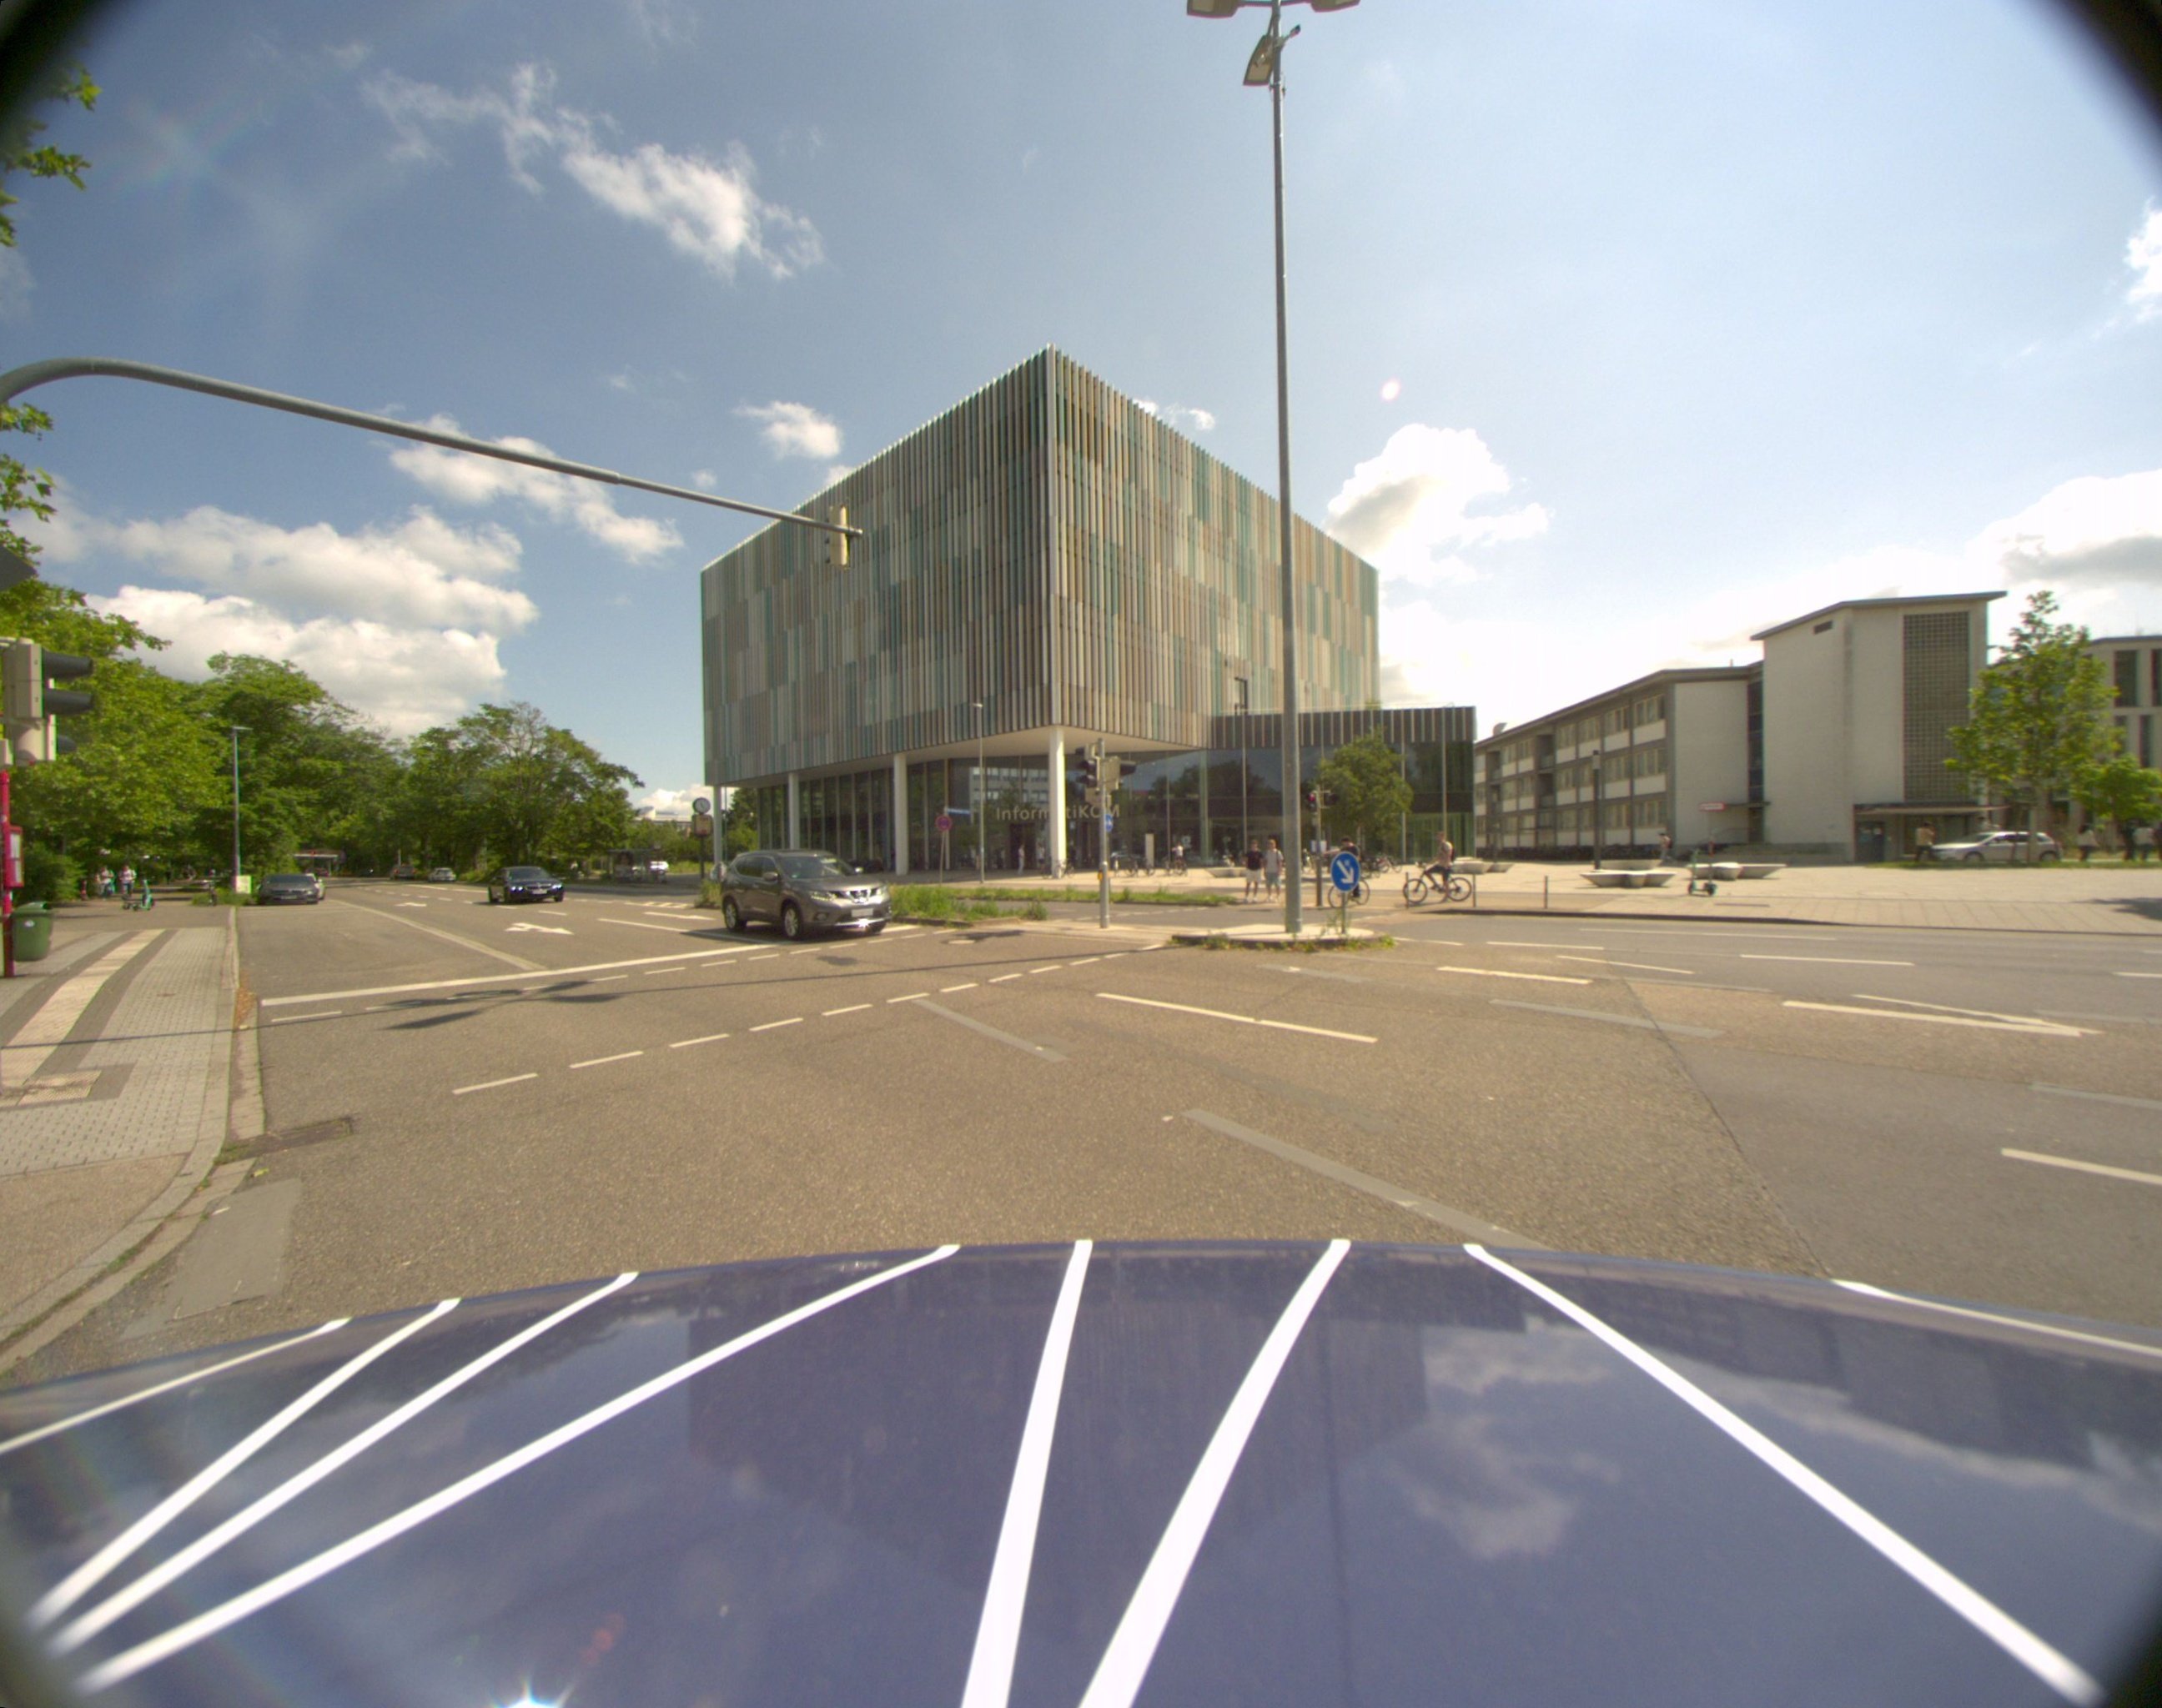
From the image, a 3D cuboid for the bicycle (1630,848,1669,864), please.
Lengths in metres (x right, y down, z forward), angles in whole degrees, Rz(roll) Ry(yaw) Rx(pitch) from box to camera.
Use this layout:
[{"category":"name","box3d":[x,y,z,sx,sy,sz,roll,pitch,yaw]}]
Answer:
[{"category":"bicycle","box3d":[33.959,0.124,45.405,1.770,0.950,0.529,0,3,16]}]

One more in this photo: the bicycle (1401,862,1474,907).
[{"category":"bicycle","box3d":[9.331,0.797,19.947,1.668,1.118,0.696,-1,1,17]}]

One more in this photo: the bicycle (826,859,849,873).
[{"category":"bicycle","box3d":[-17.922,0.854,55.907,1.549,0.950,0.372,-3,2,-33]}]

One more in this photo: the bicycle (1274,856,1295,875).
[{"category":"bicycle","box3d":[10.619,0.590,39.747,0.529,0.950,1.772,-1,1,-4]}]

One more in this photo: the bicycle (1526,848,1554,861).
[{"category":"bicycle","box3d":[35.536,0.021,58.881,1.770,0.950,0.529,0,3,14]}]

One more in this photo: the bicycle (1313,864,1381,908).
[{"category":"bicycle","box3d":[7.095,0.856,20.344,1.668,1.118,0.696,-1,1,14]}]

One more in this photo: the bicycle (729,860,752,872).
[{"category":"bicycle","box3d":[-30.204,1.071,67.382,0.432,0.950,1.788,0,2,42]}]

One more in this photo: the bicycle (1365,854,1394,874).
[{"category":"bicycle","box3d":[15.165,0.488,38.629,0.529,0.950,1.771,-1,1,-10]}]

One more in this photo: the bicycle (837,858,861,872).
[{"category":"bicycle","box3d":[-16.868,0.767,55.262,1.549,0.950,0.372,-3,2,-33]}]

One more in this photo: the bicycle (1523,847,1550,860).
[{"category":"bicycle","box3d":[35.678,-0.049,59.521,1.770,0.950,0.529,0,3,14]}]

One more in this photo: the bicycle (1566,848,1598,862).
[{"category":"bicycle","box3d":[34.669,0.087,52.619,1.770,0.950,0.529,0,3,14]}]

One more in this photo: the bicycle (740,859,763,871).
[{"category":"bicycle","box3d":[-28.436,0.958,65.648,0.432,0.950,1.788,0,2,42]}]

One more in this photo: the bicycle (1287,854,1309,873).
[{"category":"bicycle","box3d":[11.349,0.491,39.735,0.529,0.950,1.772,-1,1,-4]}]

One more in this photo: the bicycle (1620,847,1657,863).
[{"category":"bicycle","box3d":[34.234,0.079,46.684,1.770,0.950,0.529,0,3,14]}]

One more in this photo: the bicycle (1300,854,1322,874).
[{"category":"bicycle","box3d":[12.043,0.510,39.835,0.529,0.950,1.772,-1,1,-4]}]

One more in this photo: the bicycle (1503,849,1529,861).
[{"category":"bicycle","box3d":[36.201,0.056,63.255,1.770,0.950,0.529,0,3,14]}]

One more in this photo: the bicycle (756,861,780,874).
[{"category":"bicycle","box3d":[-26.470,1.124,64.218,0.432,0.950,1.788,0,2,42]}]

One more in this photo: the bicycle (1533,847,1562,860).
[{"category":"bicycle","box3d":[35.229,-0.024,57.375,1.770,0.950,0.529,0,3,14]}]

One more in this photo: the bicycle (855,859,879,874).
[{"category":"bicycle","box3d":[-15.102,0.873,53.598,1.549,0.950,0.372,-3,2,-33]}]

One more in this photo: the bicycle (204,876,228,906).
[{"category":"bicycle","box3d":[-36.379,1.540,31.968,2.113,1.183,0.641,-1,-1,42]}]

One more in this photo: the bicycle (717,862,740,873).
[{"category":"bicycle","box3d":[-31.826,1.222,68.649,0.432,0.950,1.788,0,2,42]}]

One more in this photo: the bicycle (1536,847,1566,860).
[{"category":"bicycle","box3d":[34.954,-0.014,56.521,1.770,0.950,0.529,0,3,14]}]

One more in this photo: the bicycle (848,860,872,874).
[{"category":"bicycle","box3d":[-15.863,0.949,54.606,1.549,0.950,0.372,-3,2,-33]}]

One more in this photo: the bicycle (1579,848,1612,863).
[{"category":"bicycle","box3d":[34.794,0.093,51.388,1.770,0.950,0.529,0,3,14]}]

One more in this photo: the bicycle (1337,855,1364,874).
[{"category":"bicycle","box3d":[13.797,0.533,38.952,0.529,0.950,1.771,-1,1,-10]}]

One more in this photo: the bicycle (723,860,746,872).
[{"category":"bicycle","box3d":[-30.994,1.049,68.003,0.432,0.950,1.788,0,2,42]}]

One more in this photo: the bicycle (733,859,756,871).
[{"category":"bicycle","box3d":[-29.608,0.998,66.881,0.432,0.950,1.788,0,2,42]}]

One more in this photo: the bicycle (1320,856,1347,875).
[{"category":"bicycle","box3d":[13.018,0.575,39.213,0.529,0.950,1.771,-1,1,-10]}]

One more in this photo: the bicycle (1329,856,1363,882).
[{"category":"bicycle","box3d":[10.739,0.595,30.831,0.529,0.950,1.771,-1,1,-10]}]

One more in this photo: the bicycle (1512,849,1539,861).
[{"category":"bicycle","box3d":[35.875,0.055,61.353,1.770,0.950,0.529,0,3,14]}]

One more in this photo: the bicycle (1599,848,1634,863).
[{"category":"bicycle","box3d":[34.491,0.096,48.979,1.770,0.950,0.529,0,3,14]}]

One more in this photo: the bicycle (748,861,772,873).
[{"category":"bicycle","box3d":[-27.390,1.074,64.849,0.432,0.950,1.788,0,2,42]}]

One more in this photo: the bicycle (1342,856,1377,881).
[{"category":"bicycle","box3d":[11.326,0.559,30.929,0.529,0.950,1.771,-1,1,-10]}]

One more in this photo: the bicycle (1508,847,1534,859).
[{"category":"bicycle","box3d":[35.992,-0.057,62.145,1.770,0.950,0.529,0,3,14]}]

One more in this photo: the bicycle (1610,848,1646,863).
[{"category":"bicycle","box3d":[34.326,0.091,47.723,1.770,0.950,0.529,0,3,14]}]

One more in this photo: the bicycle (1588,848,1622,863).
[{"category":"bicycle","box3d":[34.682,0.092,50.290,1.770,0.950,0.529,0,3,14]}]

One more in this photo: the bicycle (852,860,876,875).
[{"category":"bicycle","box3d":[-15.455,0.953,54.064,1.549,0.950,0.372,-3,2,-33]}]

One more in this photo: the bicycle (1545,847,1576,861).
[{"category":"bicycle","box3d":[34.829,0.011,55.213,1.770,0.950,0.529,0,3,14]}]
